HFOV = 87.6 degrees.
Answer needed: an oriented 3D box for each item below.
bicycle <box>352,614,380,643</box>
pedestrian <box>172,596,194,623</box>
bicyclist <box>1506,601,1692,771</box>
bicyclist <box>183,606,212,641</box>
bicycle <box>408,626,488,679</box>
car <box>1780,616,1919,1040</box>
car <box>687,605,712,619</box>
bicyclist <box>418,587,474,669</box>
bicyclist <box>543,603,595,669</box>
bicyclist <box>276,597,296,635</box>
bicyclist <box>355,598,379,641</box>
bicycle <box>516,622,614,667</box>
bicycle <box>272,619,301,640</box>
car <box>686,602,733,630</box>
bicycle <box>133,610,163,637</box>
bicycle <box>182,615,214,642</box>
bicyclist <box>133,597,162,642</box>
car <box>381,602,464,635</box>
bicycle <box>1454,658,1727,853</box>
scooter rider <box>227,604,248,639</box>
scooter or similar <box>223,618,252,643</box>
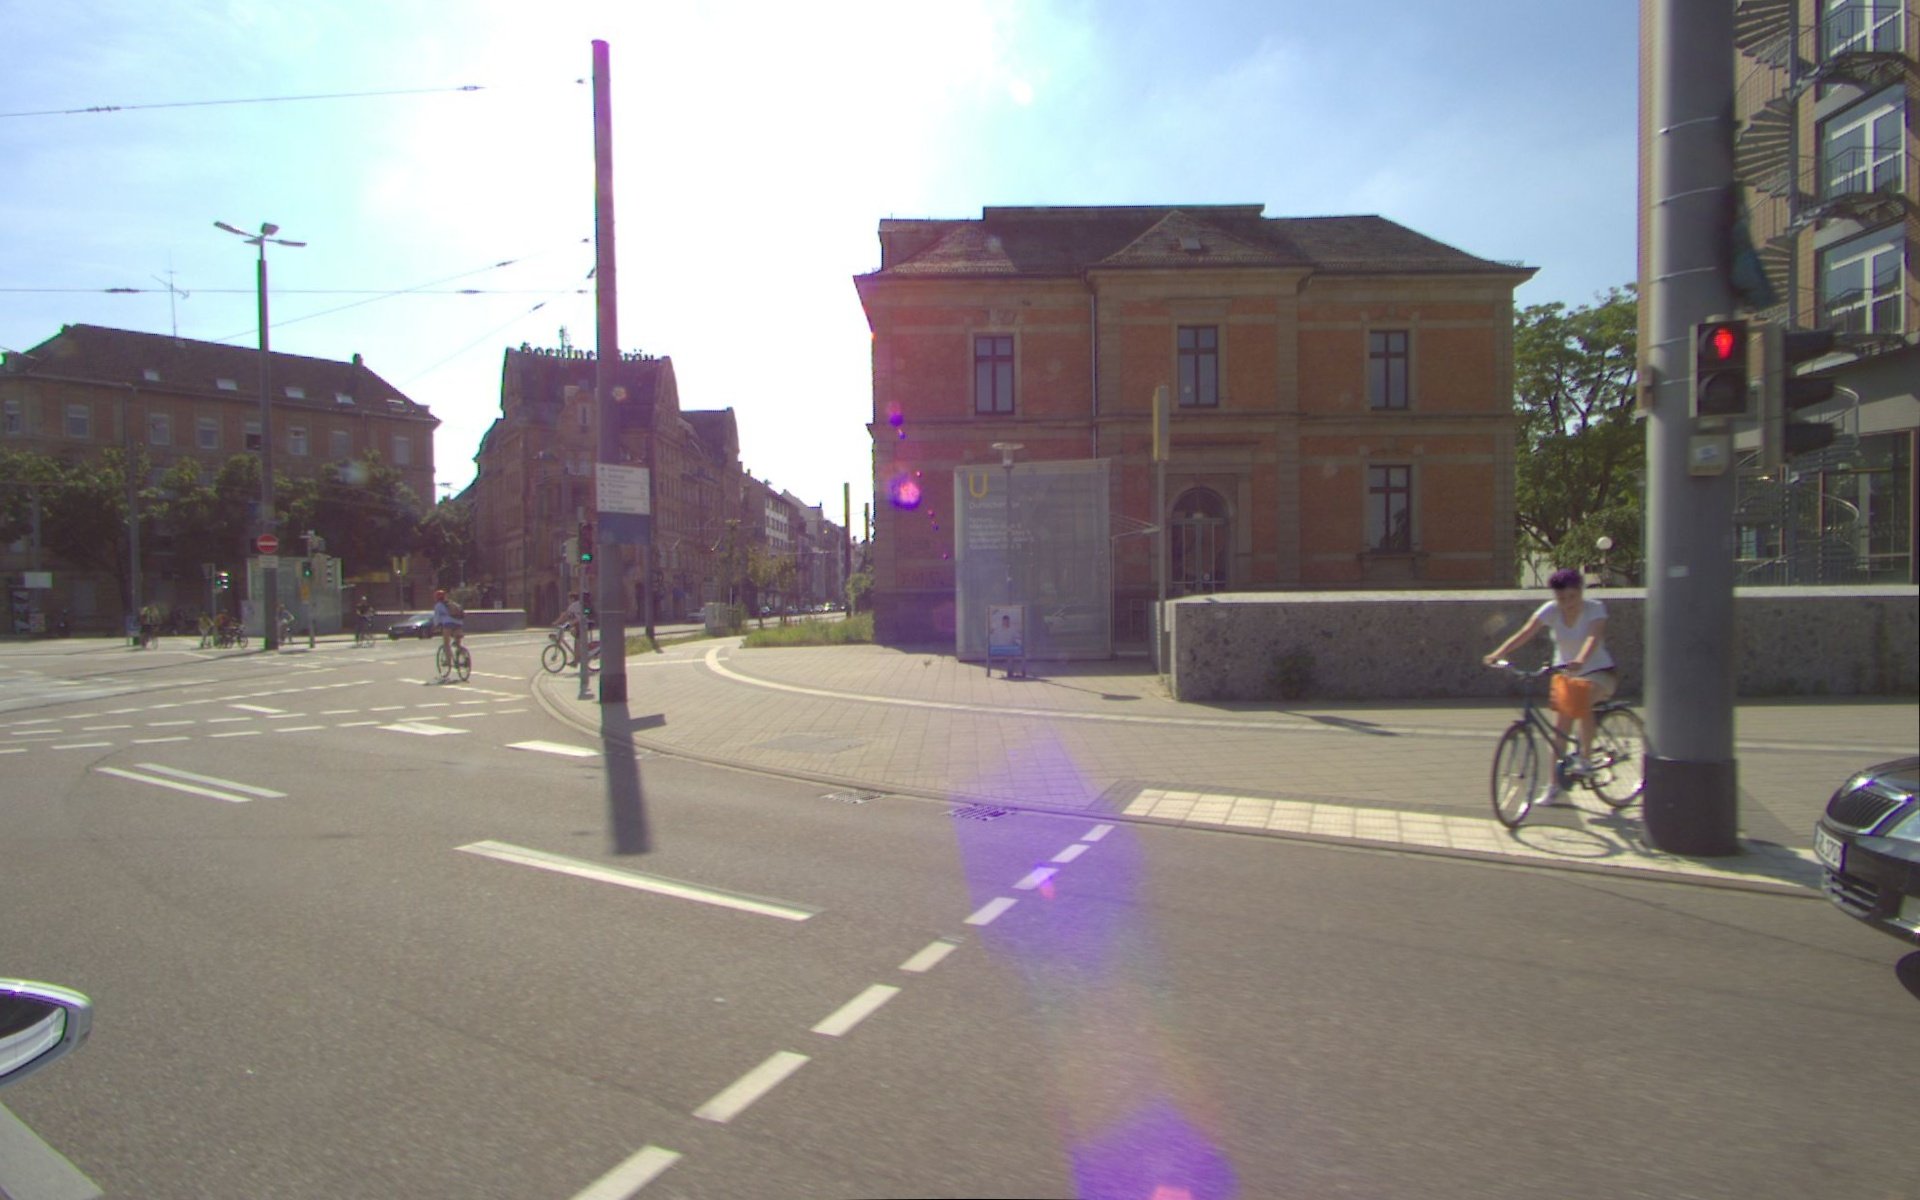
[{"bbox_3d":[-22.901,1.085,38.599,0.661,1.083,2.445,1,-1,-37],"label":"bicycle"},{"bbox_3d":[-42.855,0.511,55.222,0.699,1.451,0.614,0,-1,-8],"label":"pedestrian"},{"bbox_3d":[4.393,0.549,6.899,0.902,1.043,0.713,-3,2,-27],"label":"bicyclist"},{"bbox_3d":[-32.531,1.011,42.716,0.919,1.470,1.241,1,-1,-41],"label":"bicyclist"},{"bbox_3d":[-11.002,1.107,21.500,1.995,1.029,0.711,-1,2,38],"label":"bicycle"},{"bbox_3d":[5.456,0.778,3.072,4.334,1.448,1.697,0,-1,32],"label":"car"},{"bbox_3d":[-26.294,1.169,101.285,1.606,1.363,3.583,-1,0,-1],"label":"car"},{"bbox_3d":[-11.016,0.584,21.465,0.864,1.692,0.711,0,3,38],"label":"bicyclist"},{"bbox_3d":[-9.070,0.830,23.259,0.932,1.506,0.717,0,-1,-4],"label":"bicyclist"},{"bbox_3d":[-29.372,0.703,43.630,0.641,1.642,0.499,0,-1,35],"label":"bicyclist"},{"bbox_3d":[-22.765,0.746,38.438,0.661,1.645,0.777,1,-1,-37],"label":"bicyclist"},{"bbox_3d":[-9.155,1.023,23.251,1.981,1.028,0.717,0,-2,-5],"label":"bicycle"},{"bbox_3d":[-29.308,1.282,43.579,1.566,0.877,0.499,0,-1,35],"label":"bicycle"},{"bbox_3d":[-12.412,0.752,49.820,1.640,1.331,3.451,0,0,-3],"label":"car"},{"bbox_3d":[-34.210,1.023,42.173,0.919,1.082,2.724,1,-2,-40],"label":"bicycle"},{"bbox_3d":[-32.496,1.209,42.696,0.919,1.083,2.817,1,-1,-40],"label":"bicycle"},{"bbox_3d":[-34.035,0.836,41.972,0.919,1.843,1.044,1,-2,-40],"label":"bicyclist"},{"bbox_3d":[-27.615,0.924,51.613,1.607,1.605,3.998,0,0,10],"label":"car"},{"bbox_3d":[4.352,0.997,6.882,1.889,1.029,0.713,-3,2,-27],"label":"bicycle"},{"bbox_3d":[-29.274,0.887,40.582,0.400,1.415,0.586,-1,-2,29],"label":"scooter rider"},{"bbox_3d":[-29.303,1.239,40.598,0.977,0.988,0.586,-1,-2,30],"label":"scooter or similar"}]
